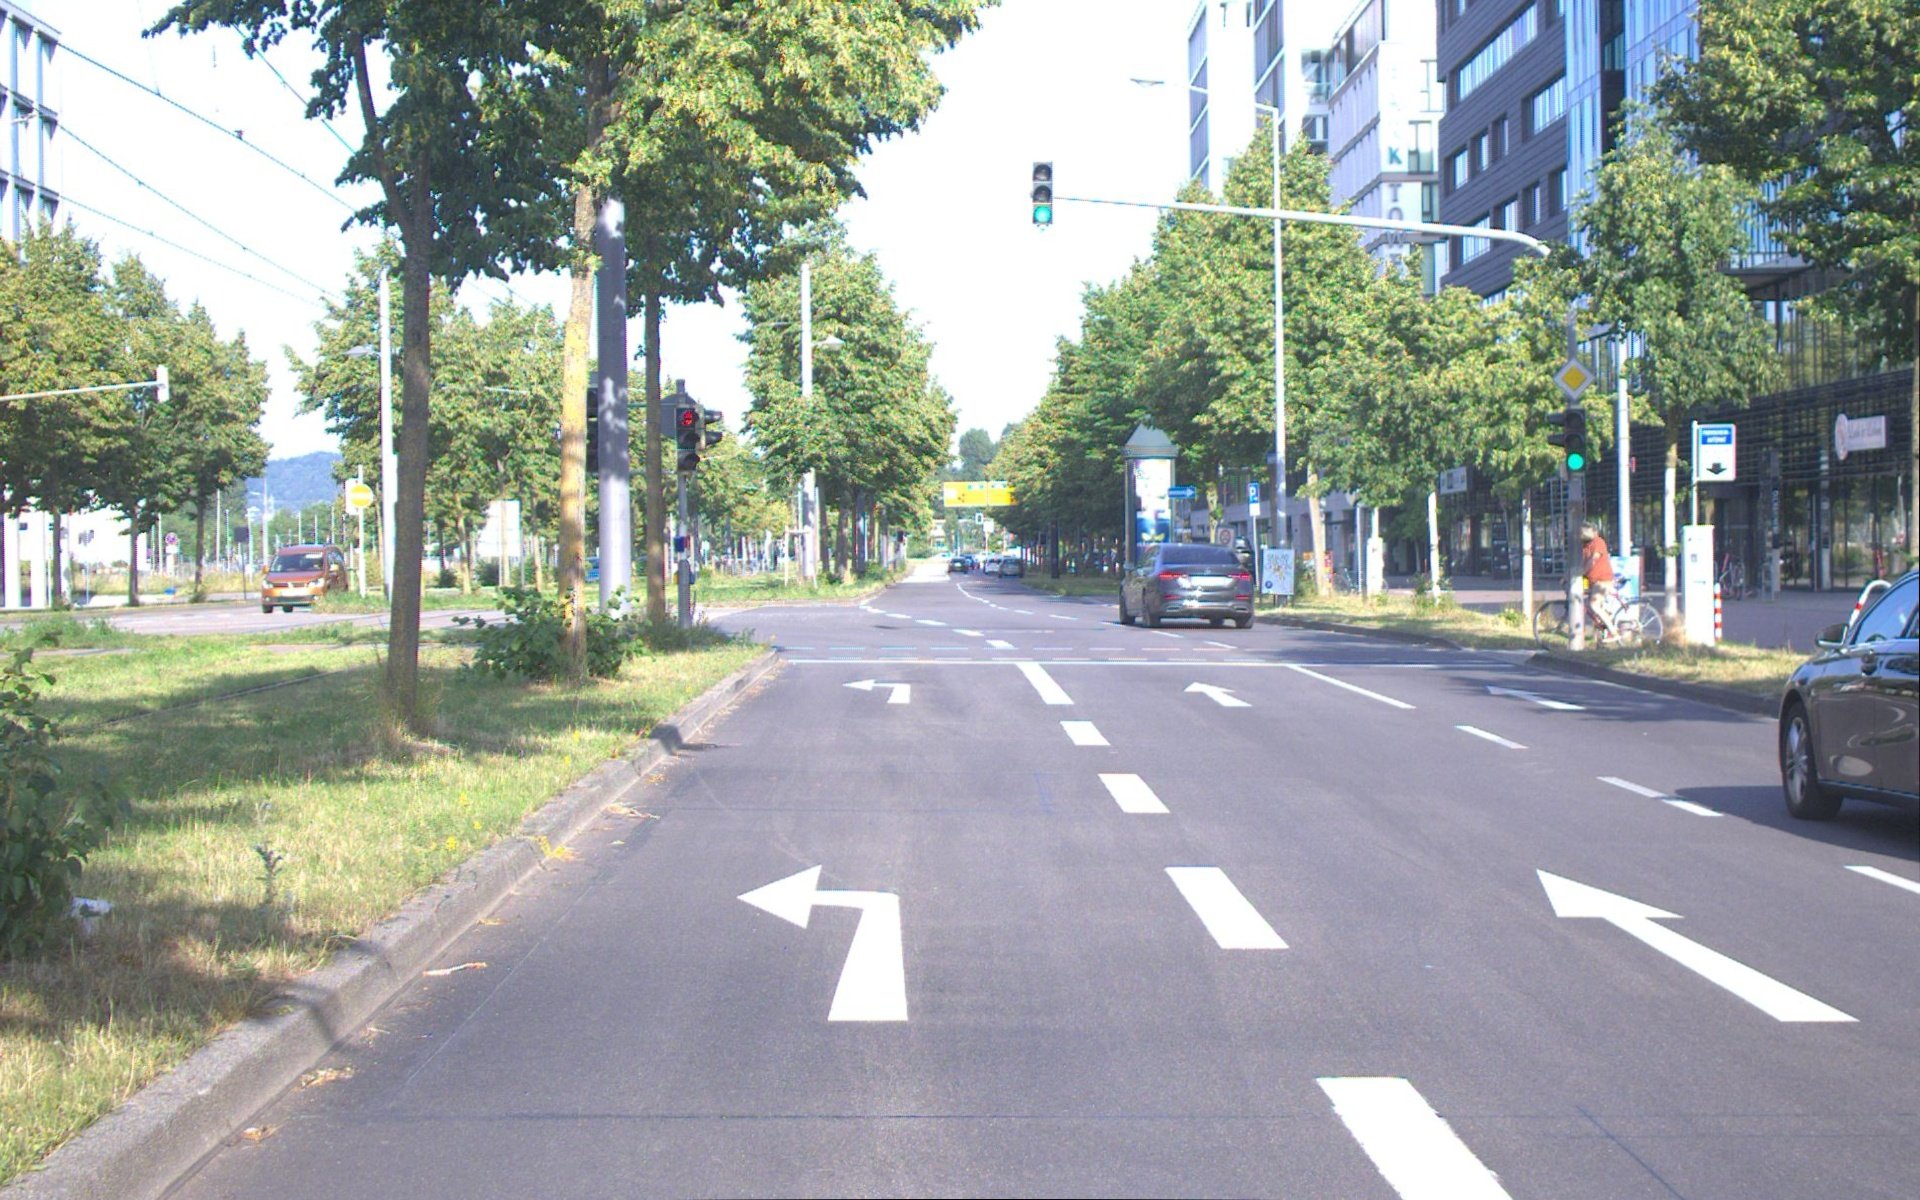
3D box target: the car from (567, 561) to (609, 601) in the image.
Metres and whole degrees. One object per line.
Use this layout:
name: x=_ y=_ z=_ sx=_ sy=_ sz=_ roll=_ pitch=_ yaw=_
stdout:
car: x=-19.241 y=-0.997 z=177.844 sx=1.779 sy=2.007 sz=4.000 roll=1 pitch=0 yaw=-1

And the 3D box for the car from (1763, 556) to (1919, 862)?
car: x=5.340 y=0.510 z=17.020 sx=1.774 sy=1.419 sz=3.961 roll=1 pitch=0 yaw=0

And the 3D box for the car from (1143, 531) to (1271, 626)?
car: x=4.132 y=-0.371 z=58.003 sx=1.859 sy=1.519 sz=3.786 roll=1 pitch=0 yaw=0

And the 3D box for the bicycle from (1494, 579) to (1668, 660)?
bicycle: x=8.089 y=0.247 z=44.824 sx=2.134 sy=1.009 sz=0.571 roll=1 pitch=0 yaw=-4

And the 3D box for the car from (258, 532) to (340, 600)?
car: x=-17.785 y=-0.915 z=92.650 sx=1.684 sy=1.769 sz=3.883 roll=1 pitch=0 yaw=-4

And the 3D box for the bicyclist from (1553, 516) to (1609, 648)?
bicyclist: x=8.101 y=-0.233 z=44.825 sx=0.574 sy=1.701 sz=0.541 roll=1 pitch=0 yaw=-4
